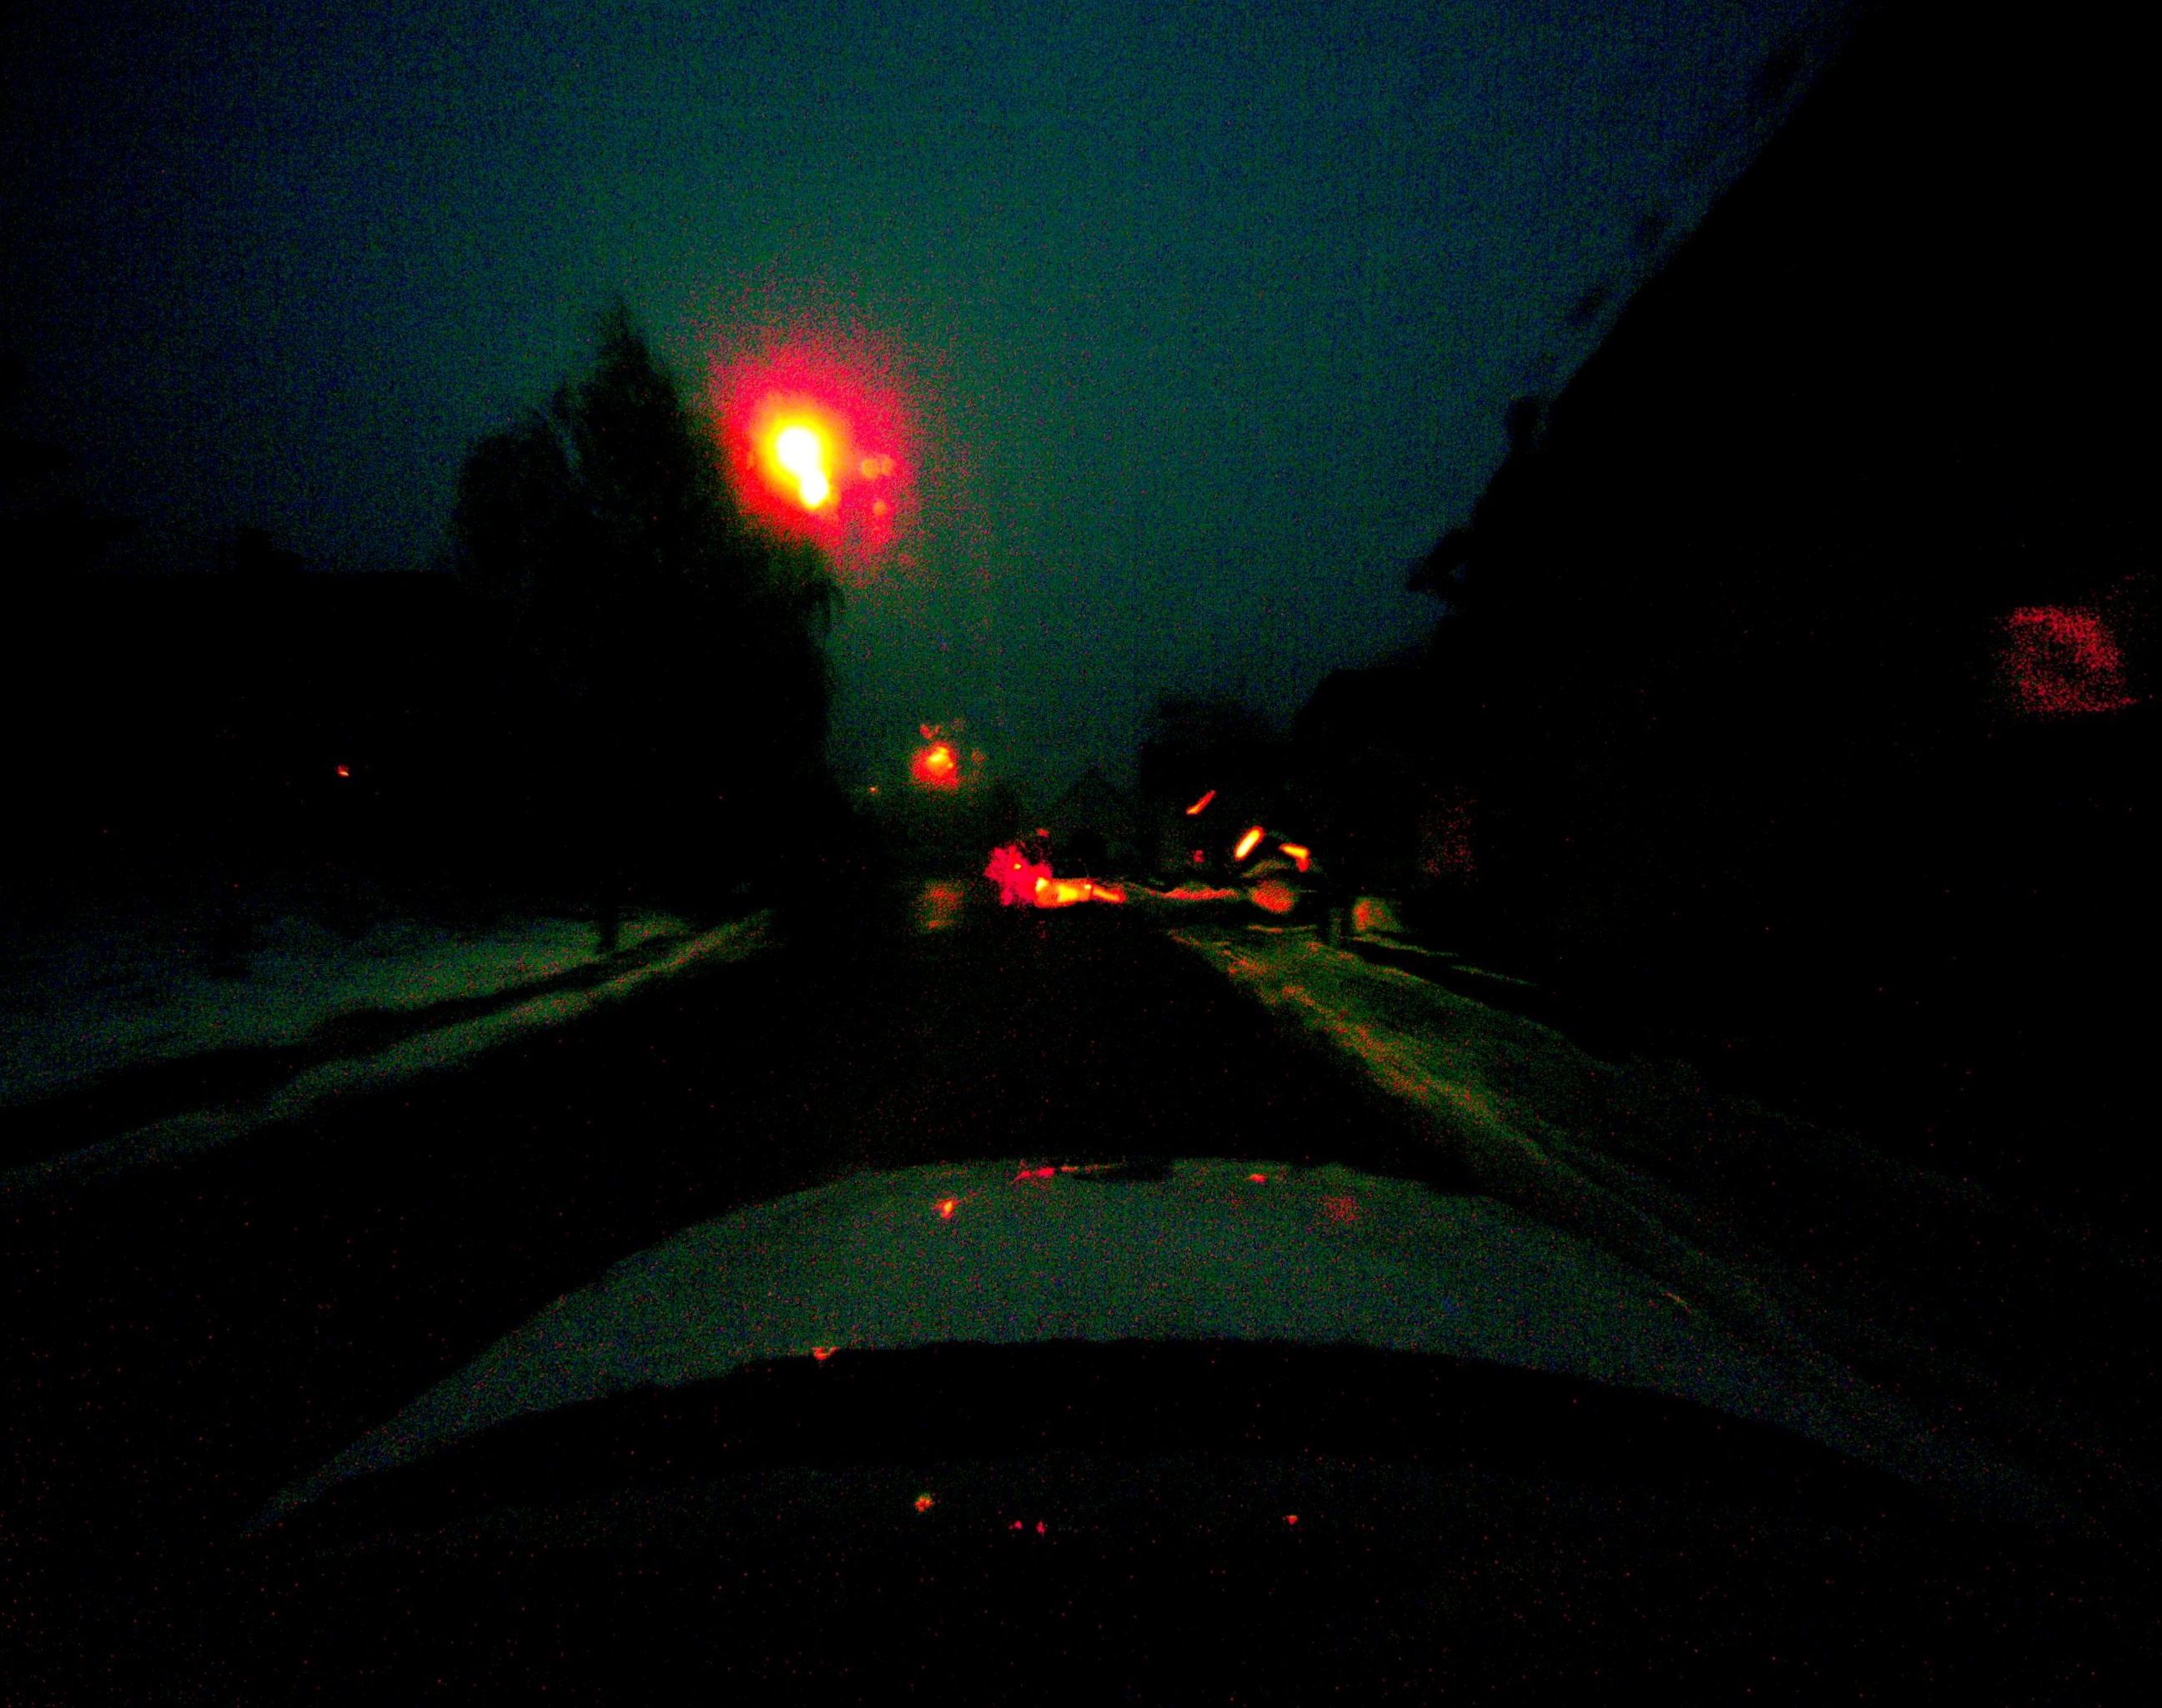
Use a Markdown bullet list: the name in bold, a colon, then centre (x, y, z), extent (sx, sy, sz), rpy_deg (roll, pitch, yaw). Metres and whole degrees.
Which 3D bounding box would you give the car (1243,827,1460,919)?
- **car**: centre (5.810, 0.418, 17.930), extent (4.186, 1.858, 1.914), rpy_deg (-1, -1, 5)

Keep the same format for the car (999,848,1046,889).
- **car**: centre (-2.701, 0.637, 37.011), extent (1.991, 1.737, 3.870), rpy_deg (-1, -1, -6)

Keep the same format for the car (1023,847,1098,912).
- **car**: centre (-0.612, 0.655, 23.288), extent (1.893, 1.609, 3.996), rpy_deg (3, 0, -3)
